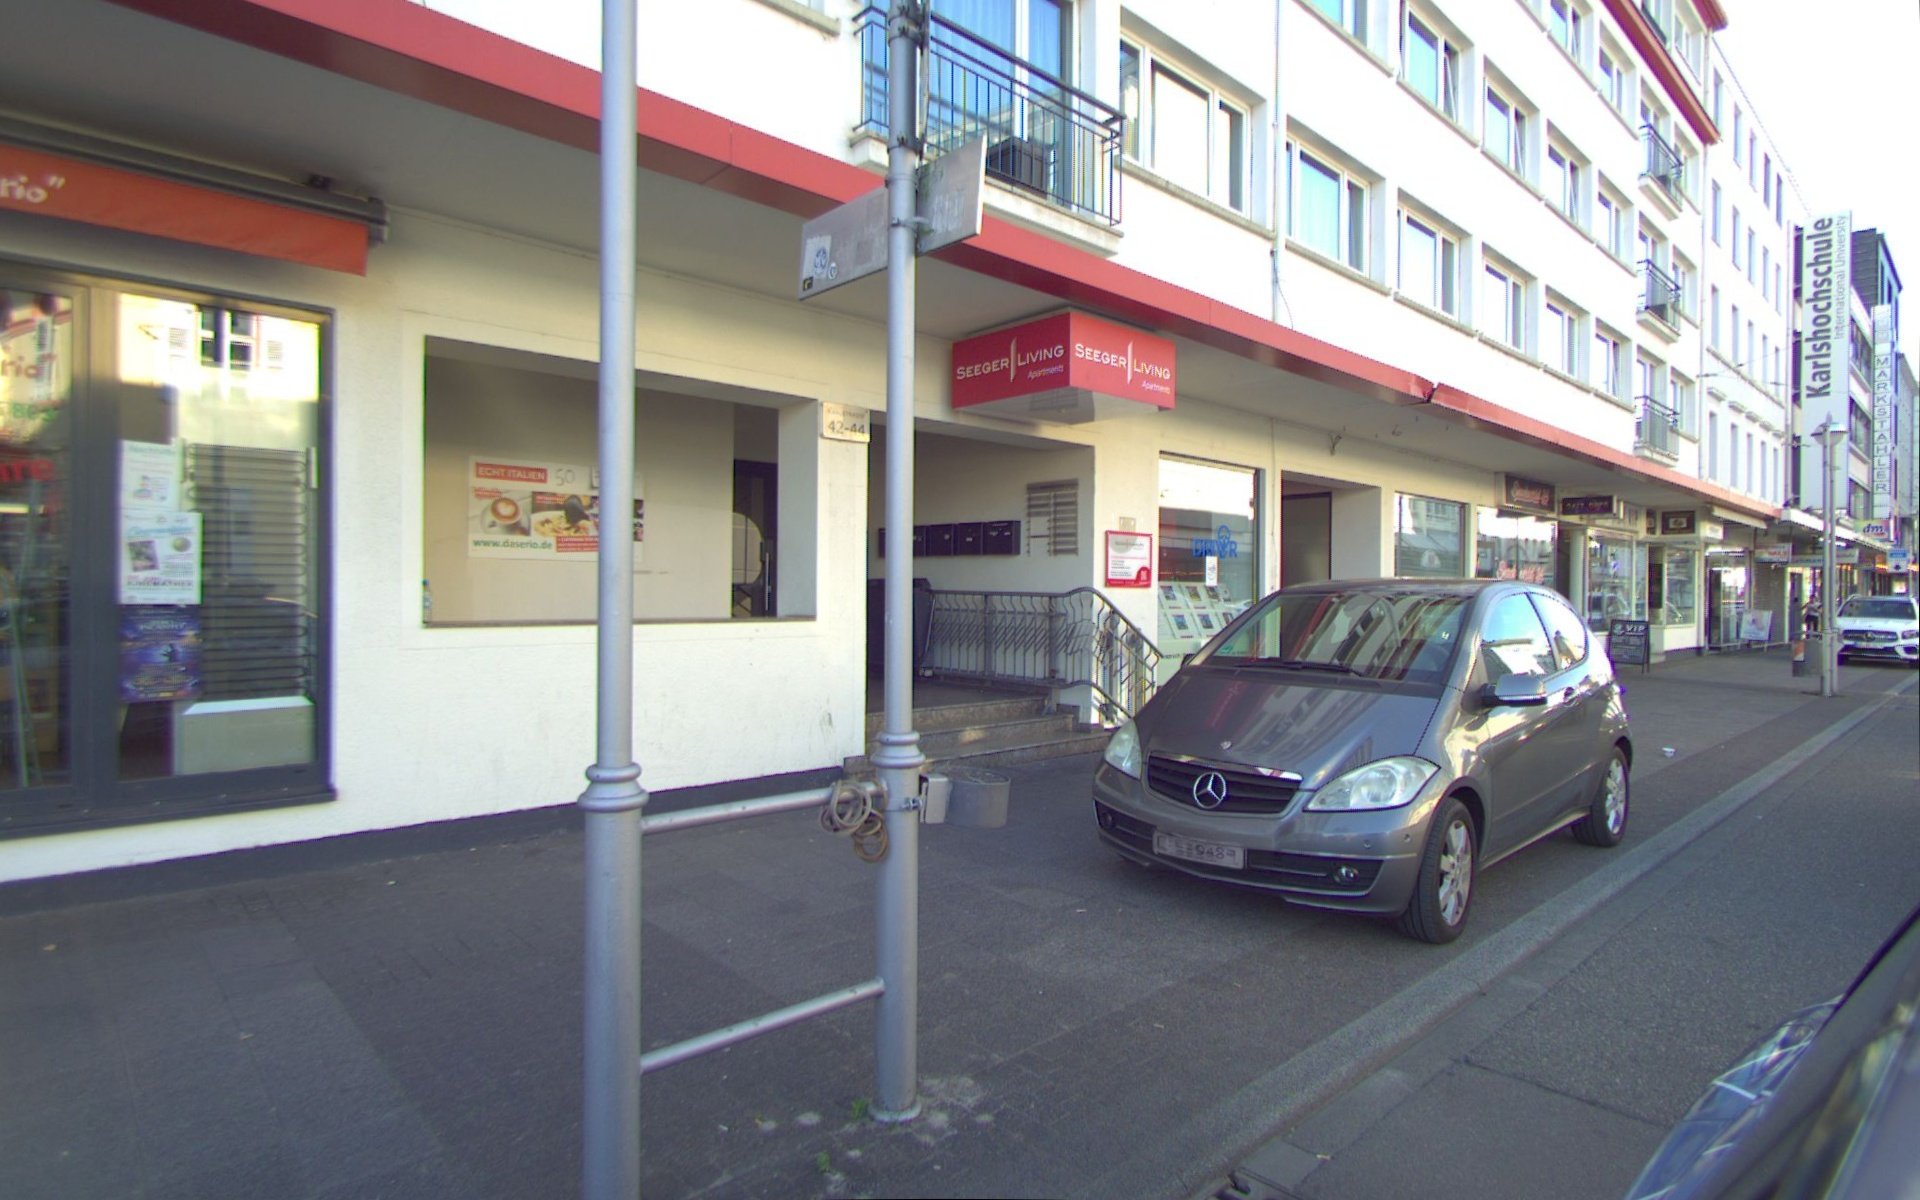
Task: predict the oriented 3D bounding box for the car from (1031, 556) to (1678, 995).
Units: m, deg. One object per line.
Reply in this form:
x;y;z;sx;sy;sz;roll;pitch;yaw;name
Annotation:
2.394;0.586;5.631;3.893;1.588;1.780;-1;2;-42;car

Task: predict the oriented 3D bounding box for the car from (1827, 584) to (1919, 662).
22.164;0.472;24.097;4.092;1.684;1.781;-1;2;-42;car

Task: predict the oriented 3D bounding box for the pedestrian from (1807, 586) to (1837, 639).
30.054;0.429;35.286;0.794;1.840;0.704;0;0;-44;pedestrian
